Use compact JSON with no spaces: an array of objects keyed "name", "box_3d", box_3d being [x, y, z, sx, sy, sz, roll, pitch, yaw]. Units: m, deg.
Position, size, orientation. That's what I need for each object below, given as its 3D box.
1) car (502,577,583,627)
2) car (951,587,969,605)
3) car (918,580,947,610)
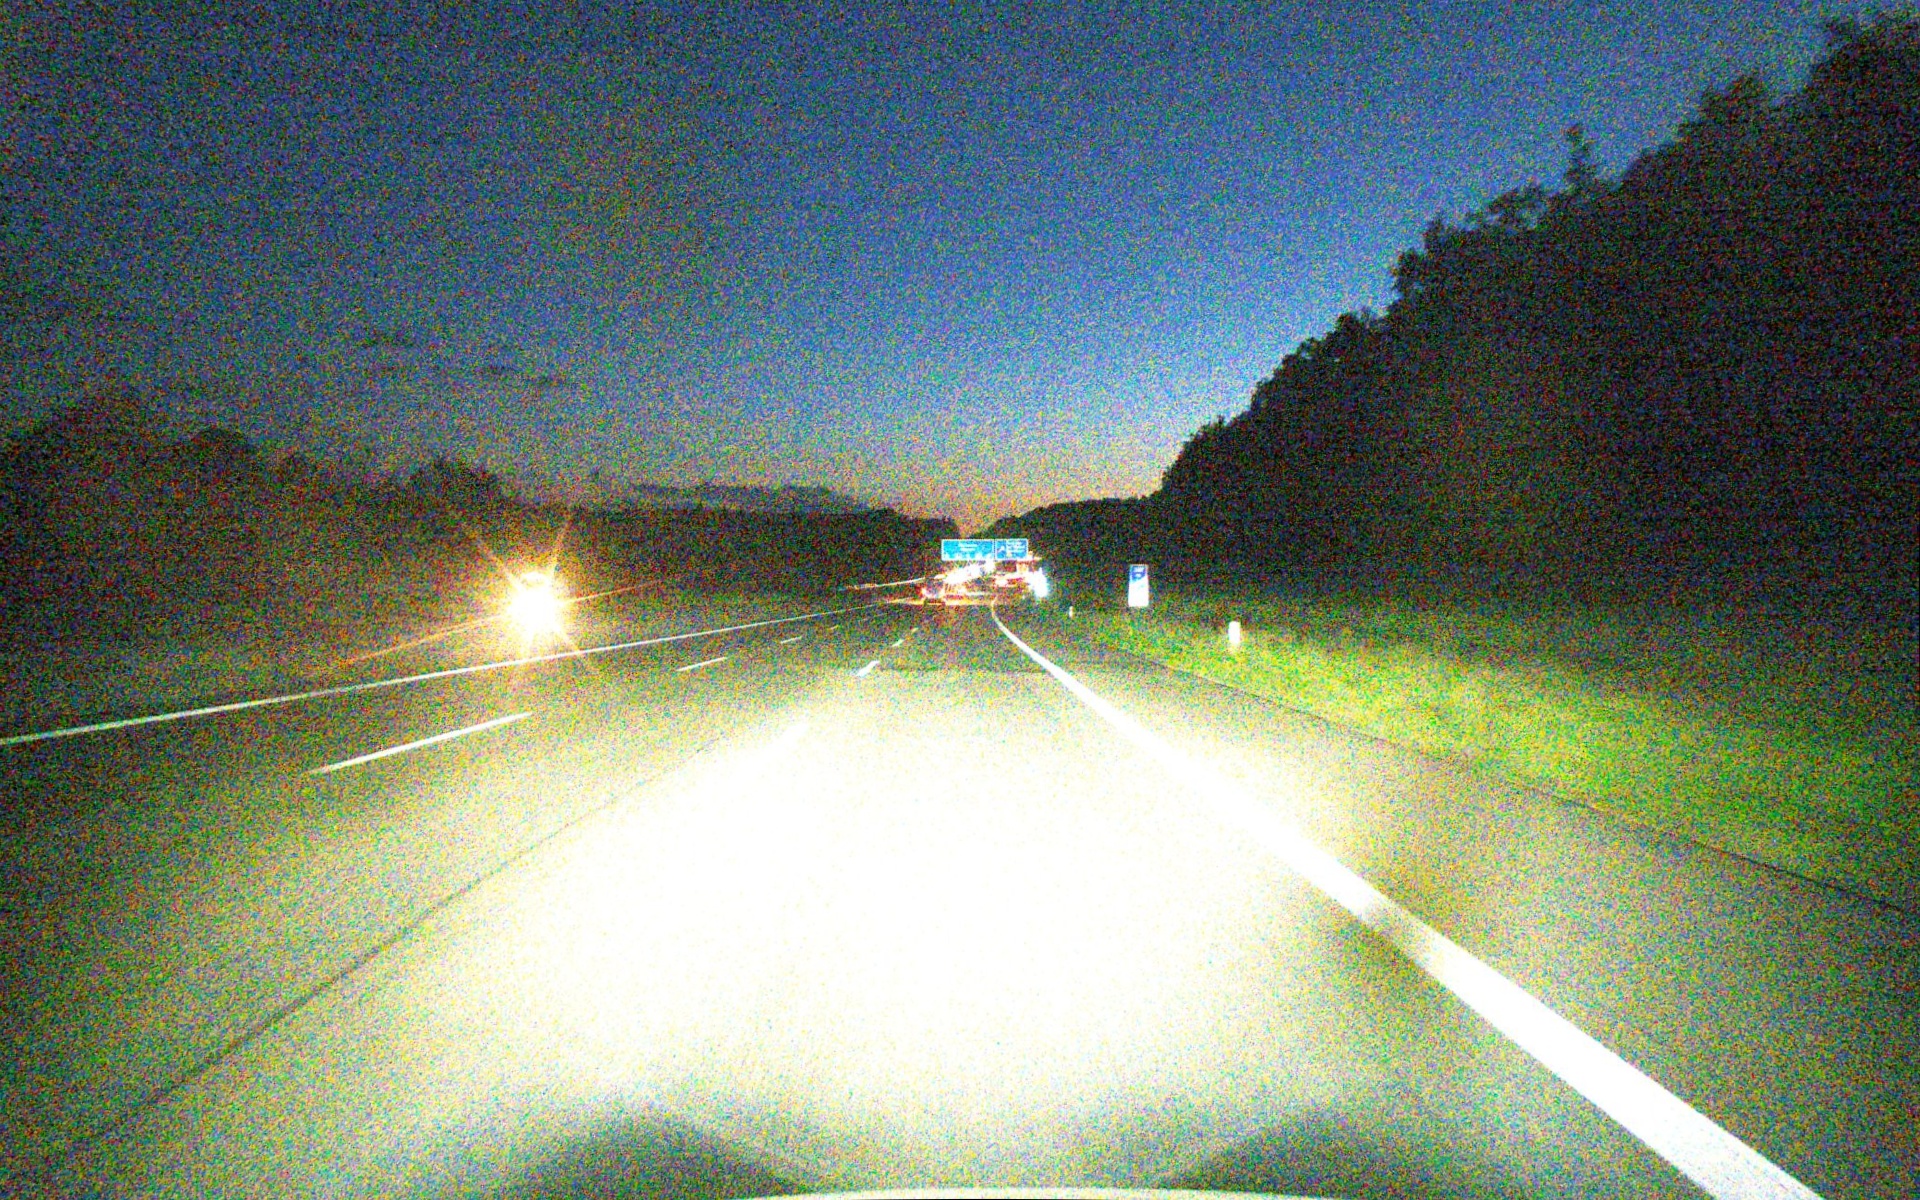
[{"name":"car","box_3d":[-22.086,0.126,87.758,2.341,2.495,6.672,1,-1,2]},{"name":"car","box_3d":[-0.024,-0.679,262.581,2.729,2.781,6.299,0,0,0]},{"name":"car","box_3d":[-2.617,-0.492,158.472,2.730,2.781,6.297,0,0,-1]}]
